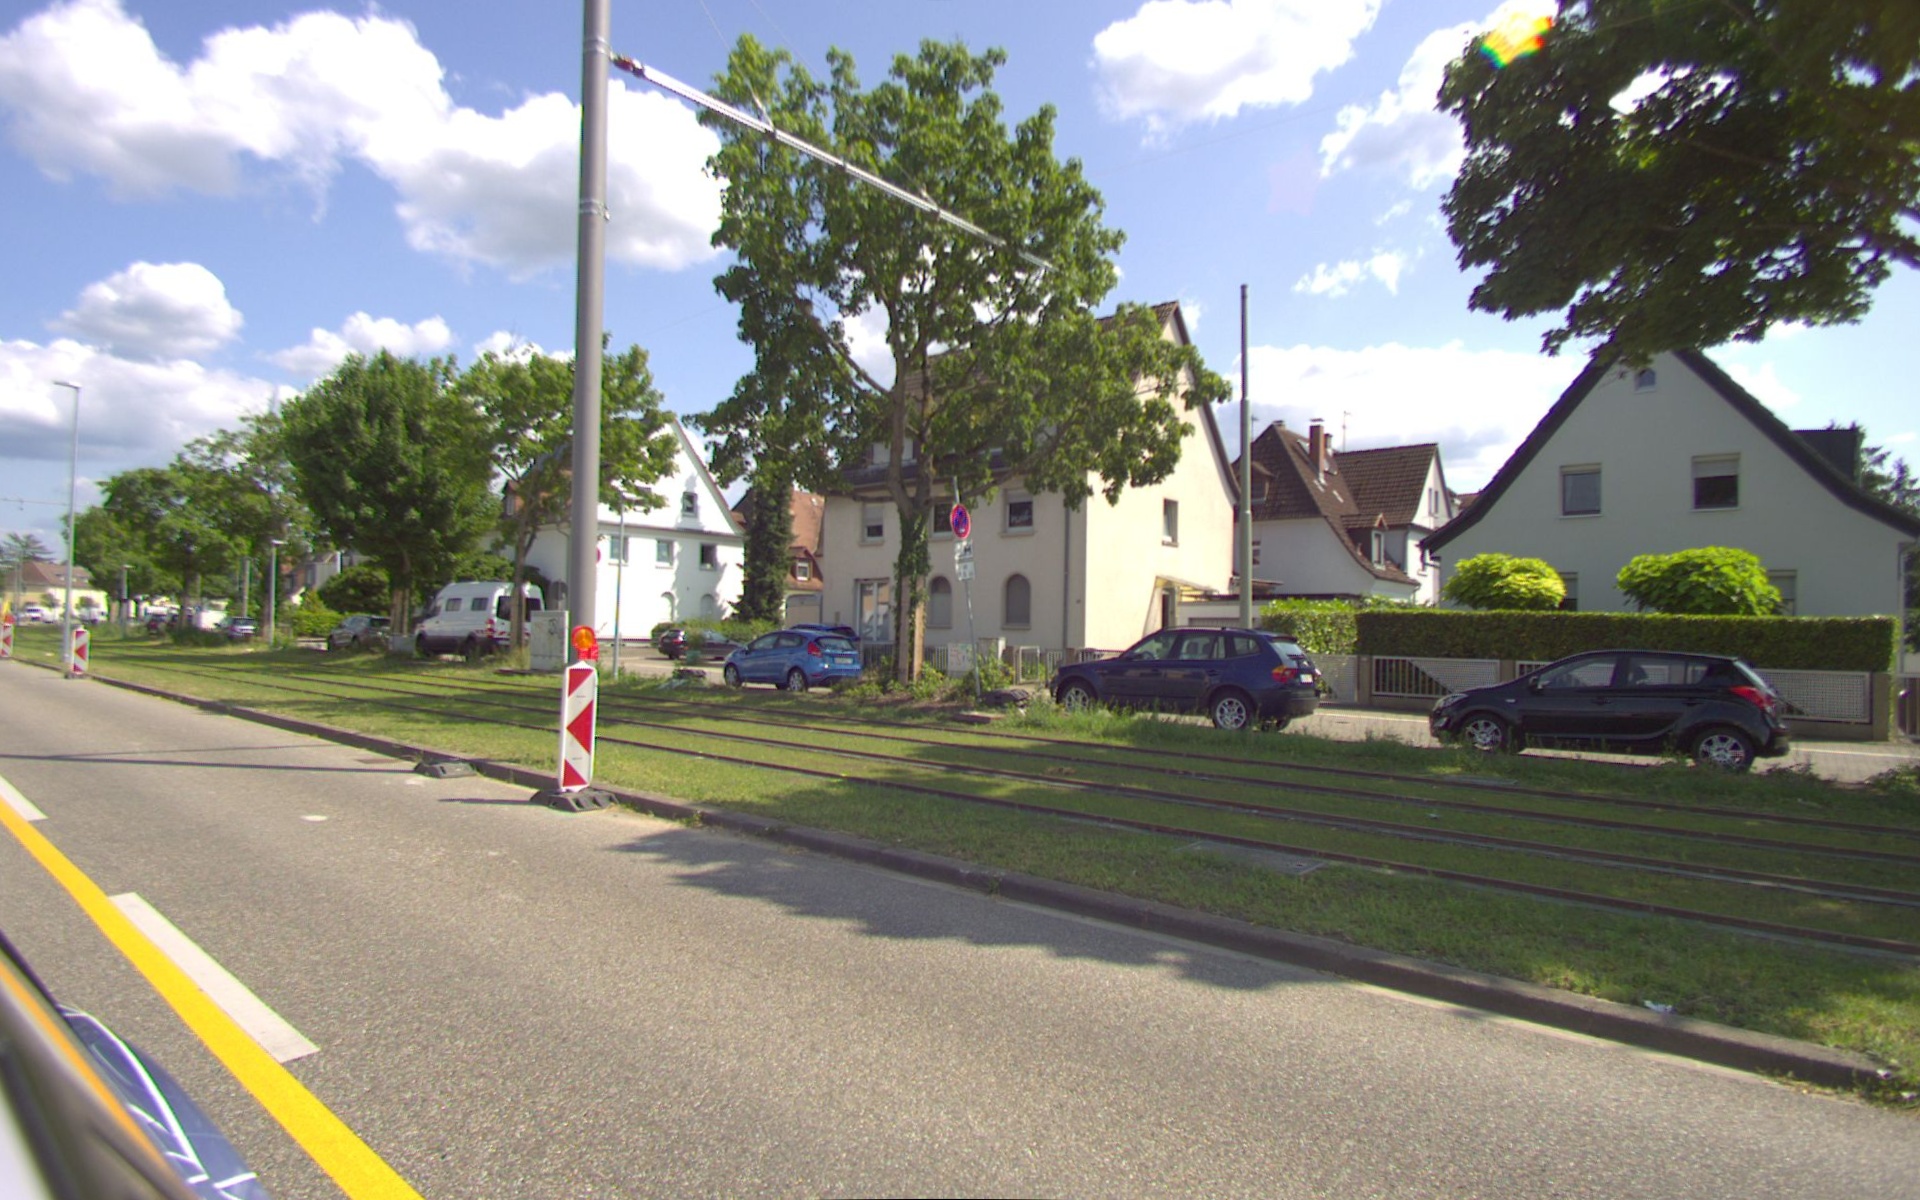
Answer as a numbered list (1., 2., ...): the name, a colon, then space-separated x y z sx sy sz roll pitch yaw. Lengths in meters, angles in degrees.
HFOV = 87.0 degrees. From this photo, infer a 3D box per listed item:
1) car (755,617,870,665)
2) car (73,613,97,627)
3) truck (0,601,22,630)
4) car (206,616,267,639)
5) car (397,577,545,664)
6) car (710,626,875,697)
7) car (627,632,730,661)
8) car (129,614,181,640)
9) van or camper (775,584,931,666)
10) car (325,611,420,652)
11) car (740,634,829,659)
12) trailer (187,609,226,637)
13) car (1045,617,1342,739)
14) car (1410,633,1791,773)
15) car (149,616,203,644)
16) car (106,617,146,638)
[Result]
1. car: -5.300 1.443 36.070 3.999 1.589 1.883 0 -3 42
2. car: -136.561 3.102 157.995 1.811 2.070 3.881 3 -2 -25
3. truck: -115.989 1.904 122.234 2.660 3.391 8.070 3 -3 -34
4. car: -38.526 1.438 53.896 3.834 1.101 1.762 0 -2 41
5. car: -16.963 0.717 34.928 6.456 2.751 1.974 -1 -3 39
6. car: -3.934 1.378 23.468 3.890 1.446 1.734 0 -3 43
7. car: -12.424 2.088 44.828 2.045 1.170 3.946 0 -3 40
8. car: -54.003 1.804 67.843 4.321 1.551 1.972 0 -3 42
9. van or camper: -4.445 1.119 43.366 2.633 3.246 6.658 -1 -3 40
10. car: -23.875 1.248 41.041 4.484 1.517 1.972 0 -3 41
11. car: -8.615 2.292 49.875 1.999 1.143 3.945 0 -3 41
12. trailer: -42.759 1.297 57.414 2.281 1.530 1.286 0 -3 41
13. car: 3.801 1.192 16.826 4.386 1.704 1.974 0 -2 38
14. car: 8.299 1.237 13.270 3.998 1.450 1.973 0 -3 41
15. car: -50.024 1.941 64.562 4.099 1.590 1.885 -2 -7 42
16. car: -67.061 2.188 81.364 4.324 1.551 1.971 0 -3 44
